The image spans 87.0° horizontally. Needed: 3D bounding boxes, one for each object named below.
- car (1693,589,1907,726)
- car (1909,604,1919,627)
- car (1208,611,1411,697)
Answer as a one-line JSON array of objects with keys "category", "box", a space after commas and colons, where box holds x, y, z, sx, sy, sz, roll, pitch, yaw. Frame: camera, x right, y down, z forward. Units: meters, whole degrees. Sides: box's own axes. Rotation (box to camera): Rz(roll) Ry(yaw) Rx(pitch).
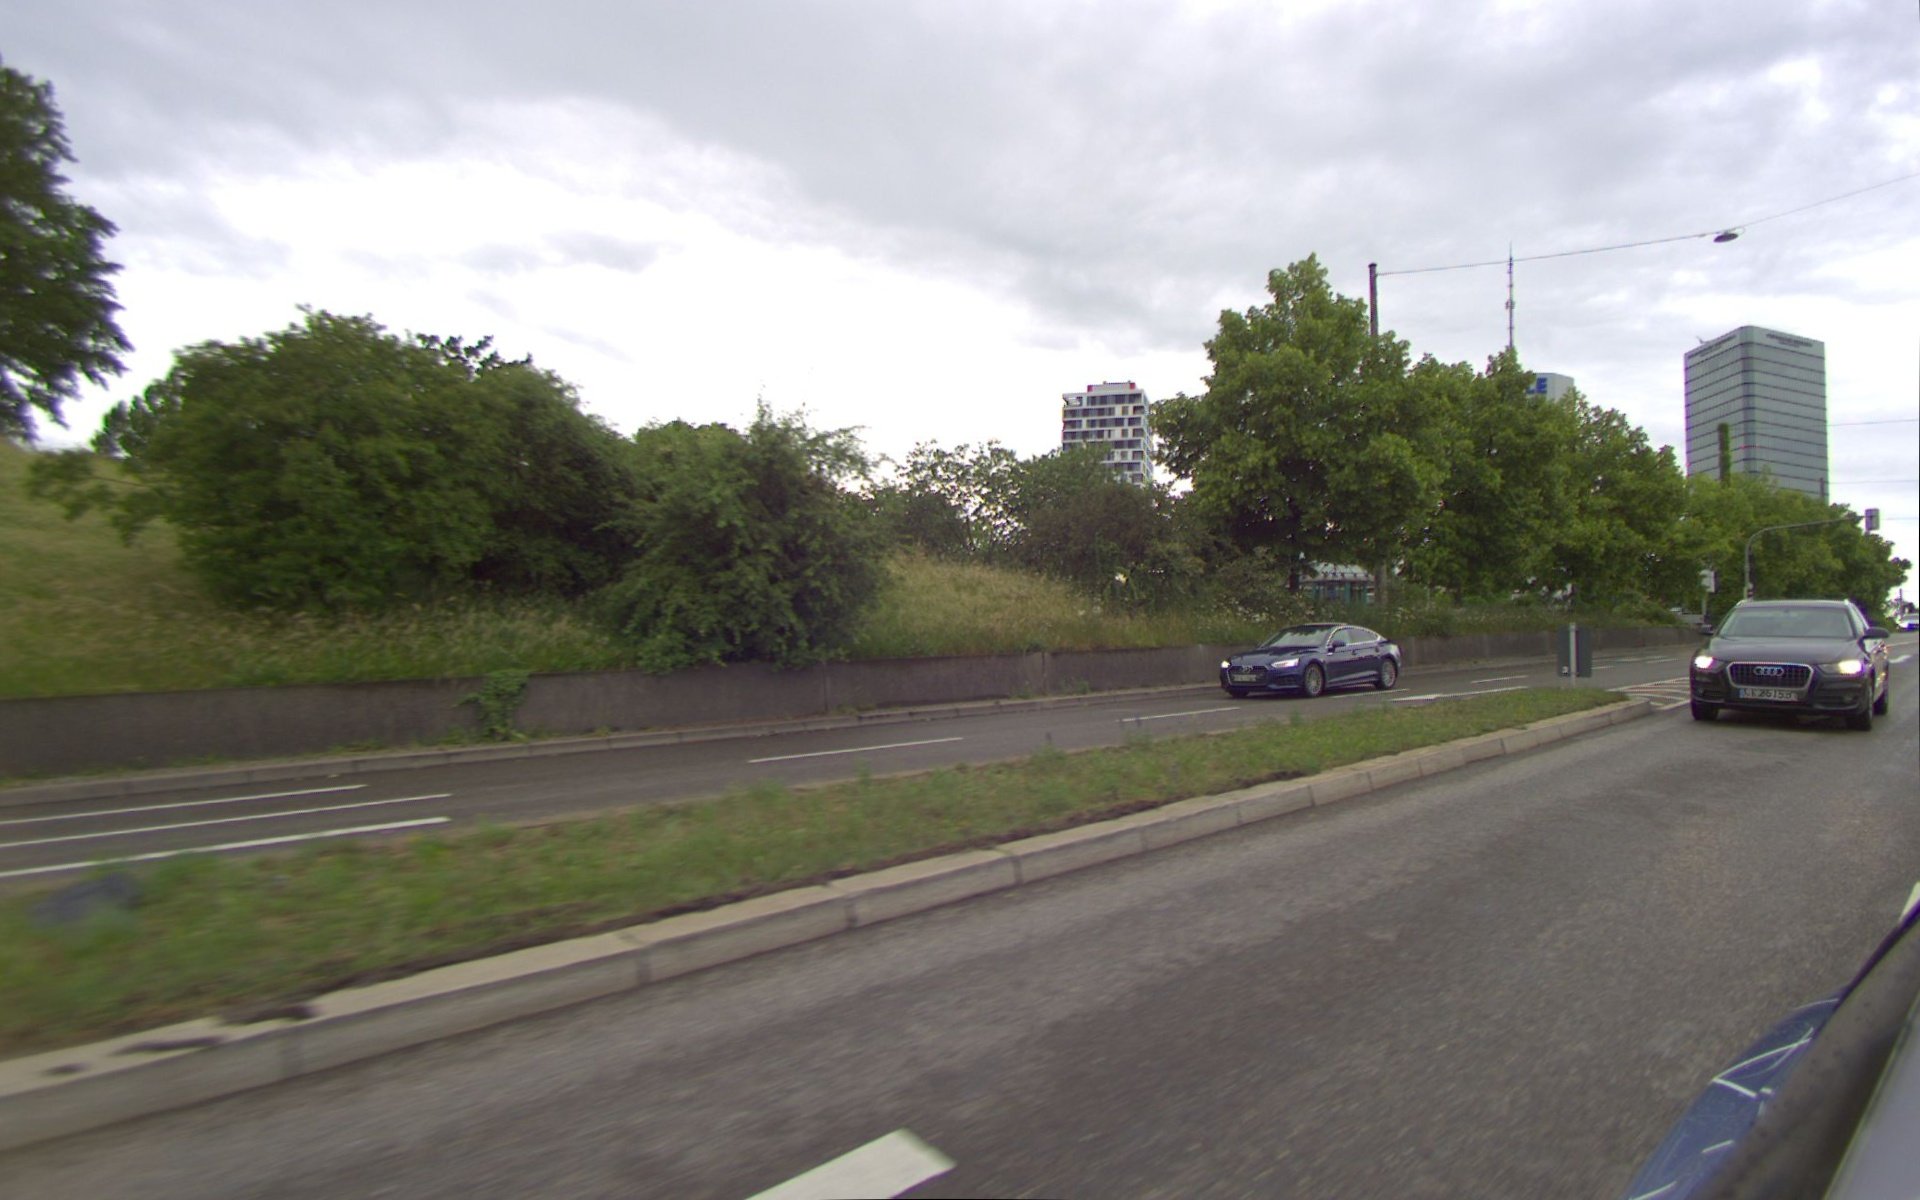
[{"category": "car", "box": [11.337, 0.671, 13.559, 4.058, 1.553, 1.726, 0, -2, -44]}, {"category": "car", "box": [71.618, 1.147, 75.015, 1.629, 1.495, 3.621, -2, -5, 40]}, {"category": "car", "box": [7.015, 1.001, 20.131, 4.271, 1.444, 1.874, -1, -1, -40]}]
